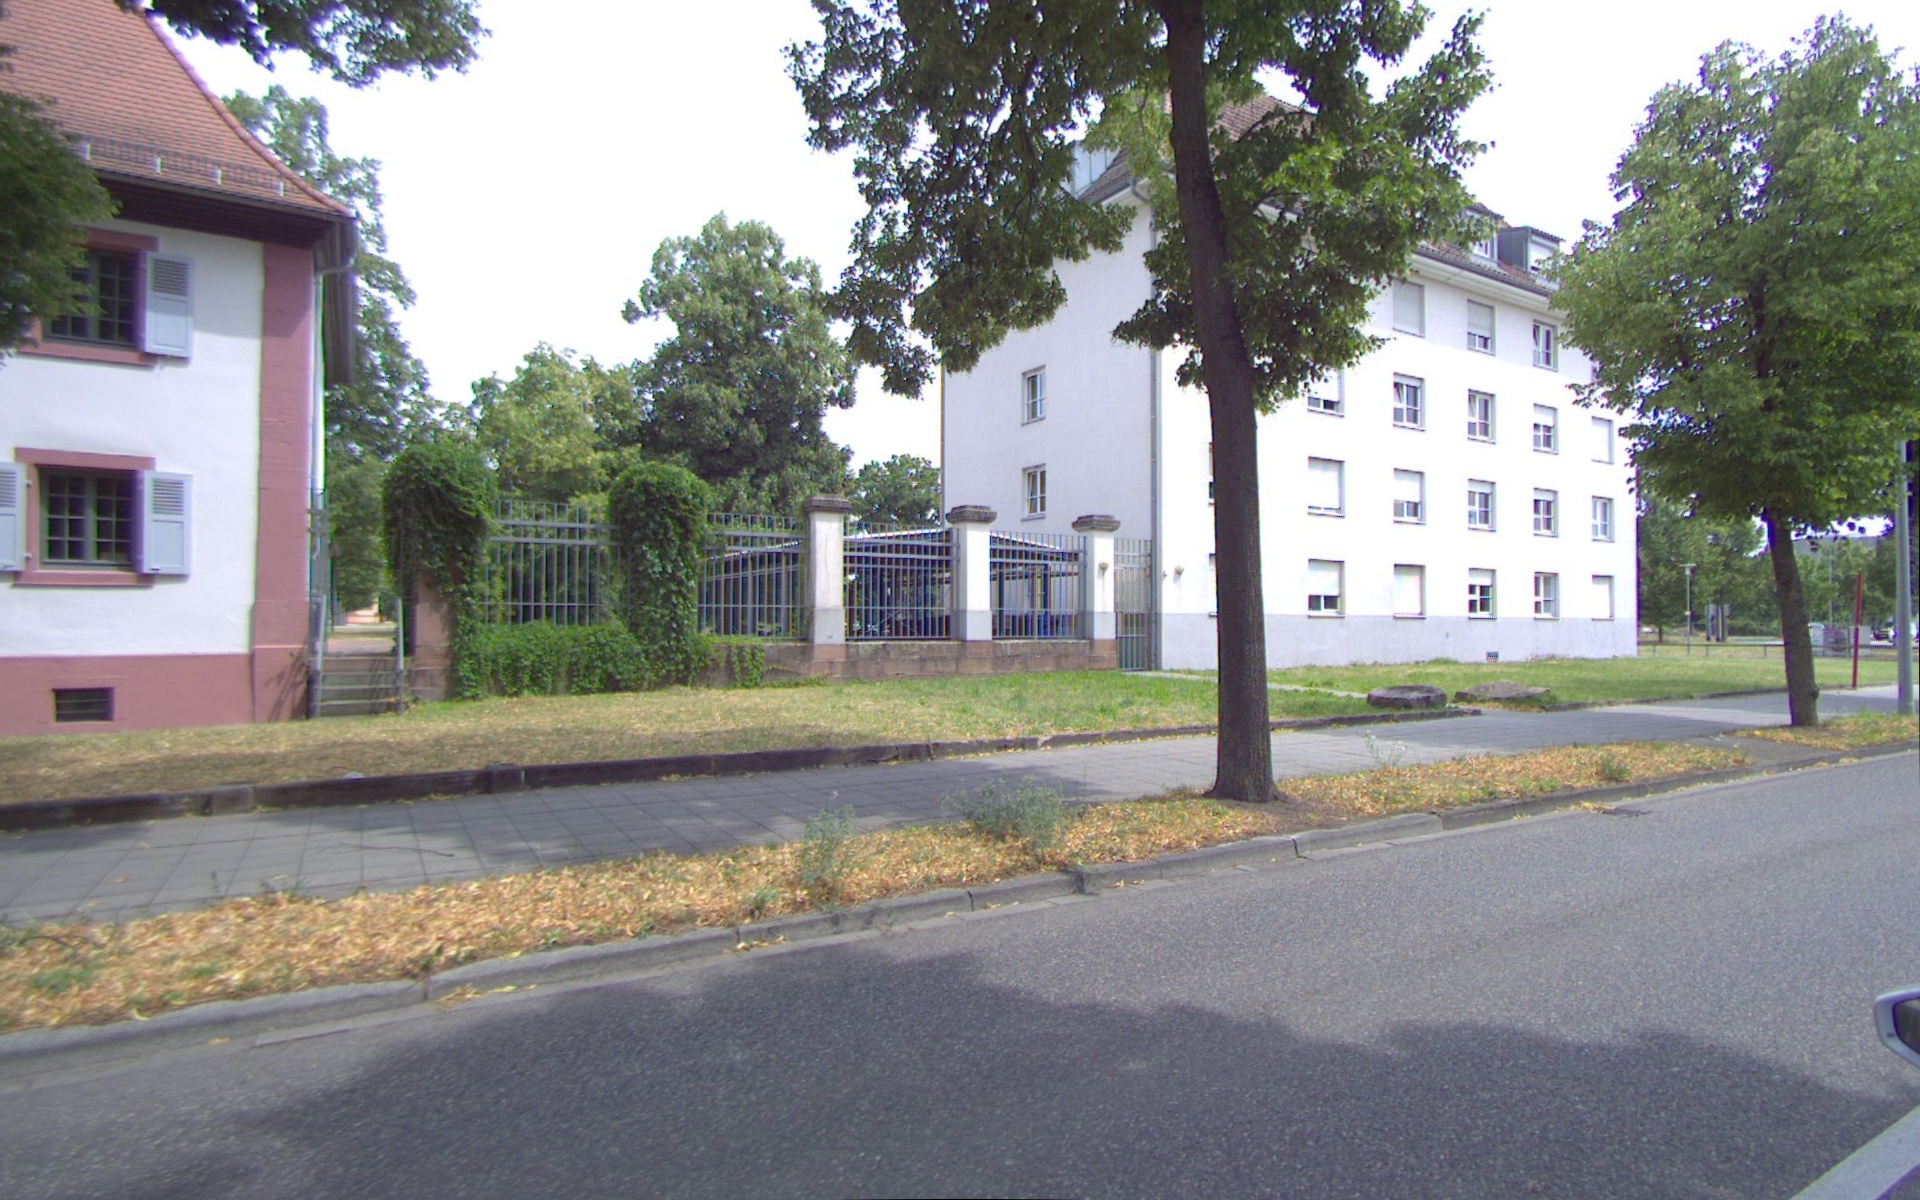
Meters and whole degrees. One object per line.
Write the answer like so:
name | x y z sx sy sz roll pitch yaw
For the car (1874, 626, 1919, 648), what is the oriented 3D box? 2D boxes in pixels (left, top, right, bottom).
car | 74.102 2.943 79.330 1.857 1.683 3.993 -2 -3 29

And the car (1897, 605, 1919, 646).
car | 68.191 1.727 69.701 2.568 2.888 5.676 -2 -3 20
